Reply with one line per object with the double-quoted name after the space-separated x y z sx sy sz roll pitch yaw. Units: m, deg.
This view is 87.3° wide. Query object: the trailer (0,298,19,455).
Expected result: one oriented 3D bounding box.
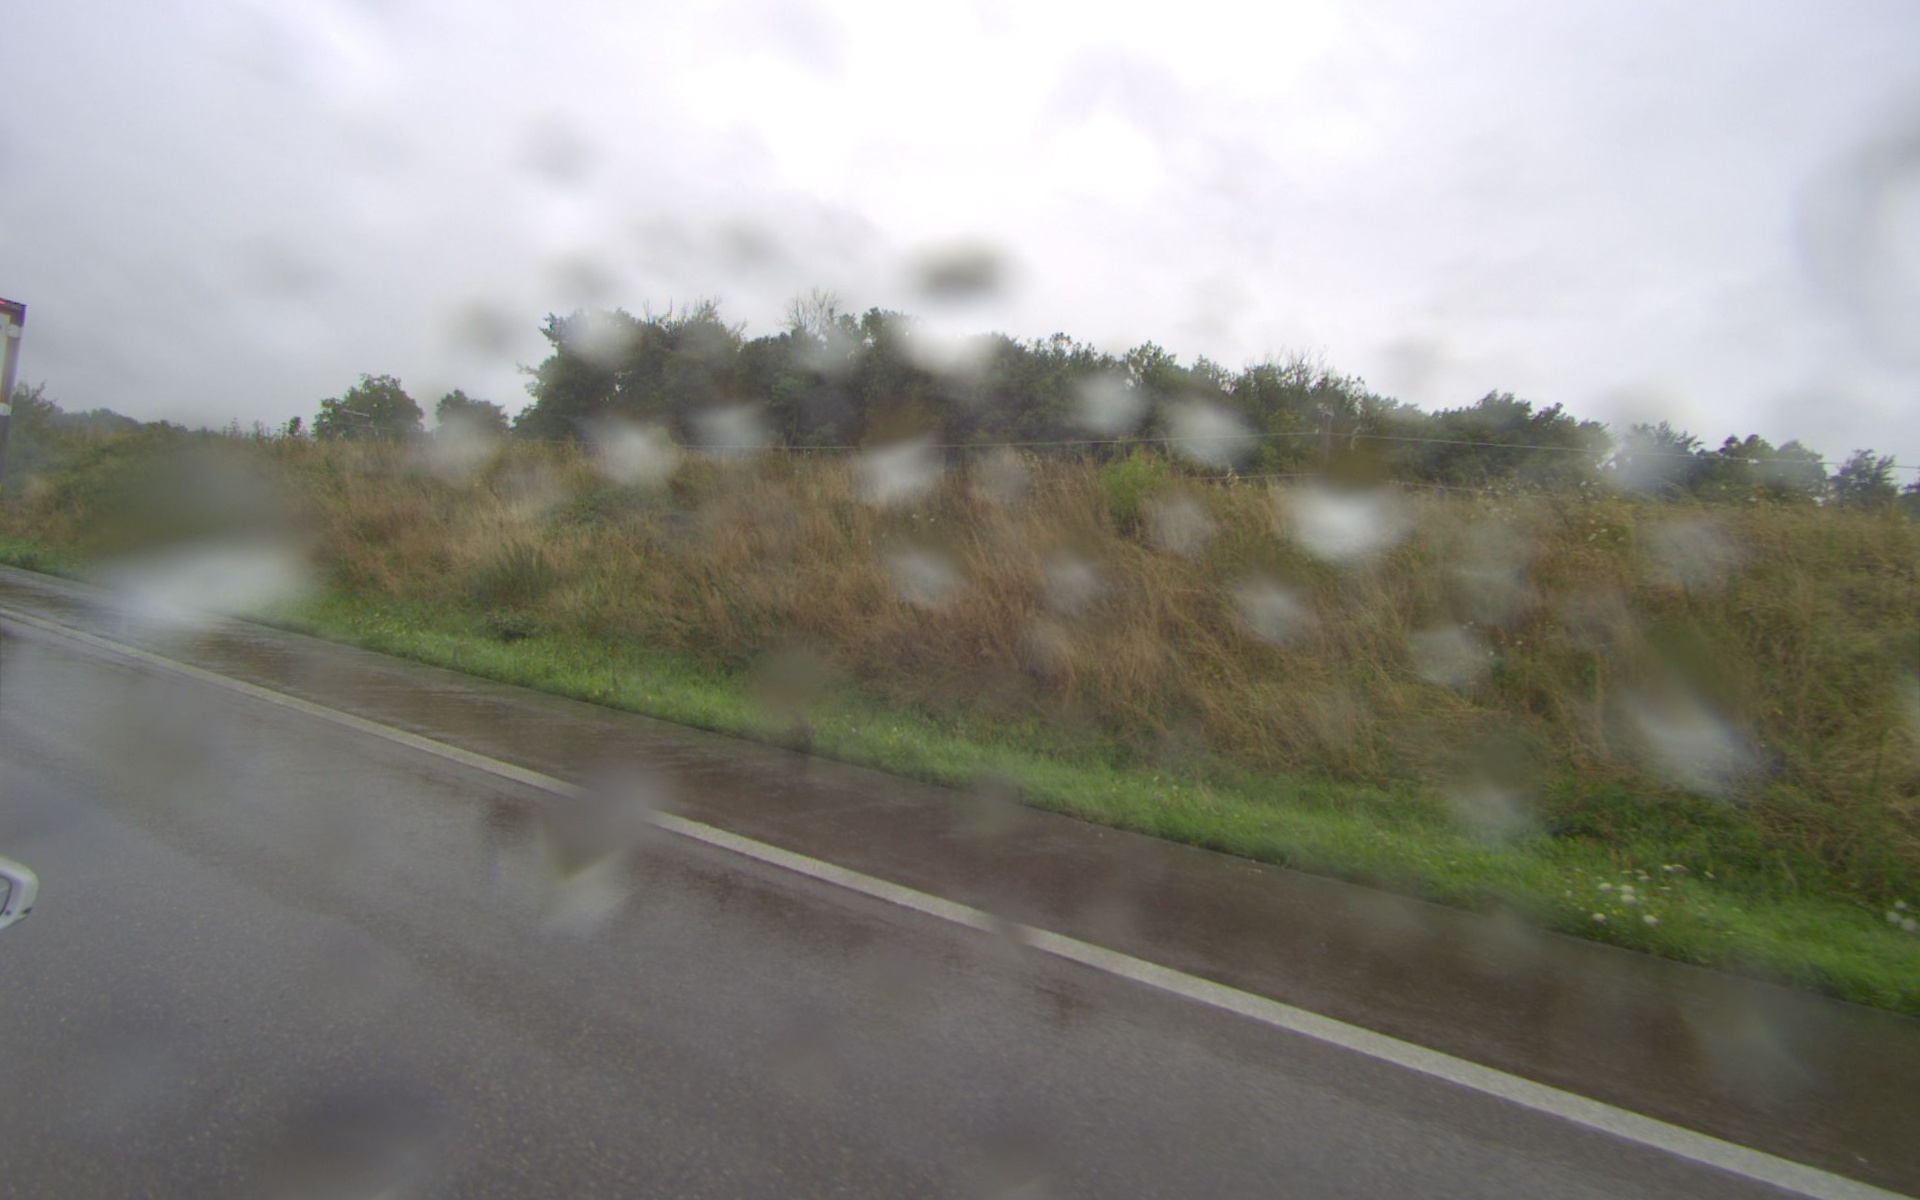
-19.551 -2.791 16.098 14.386 4.060 2.635 7 -1 32 "trailer"
